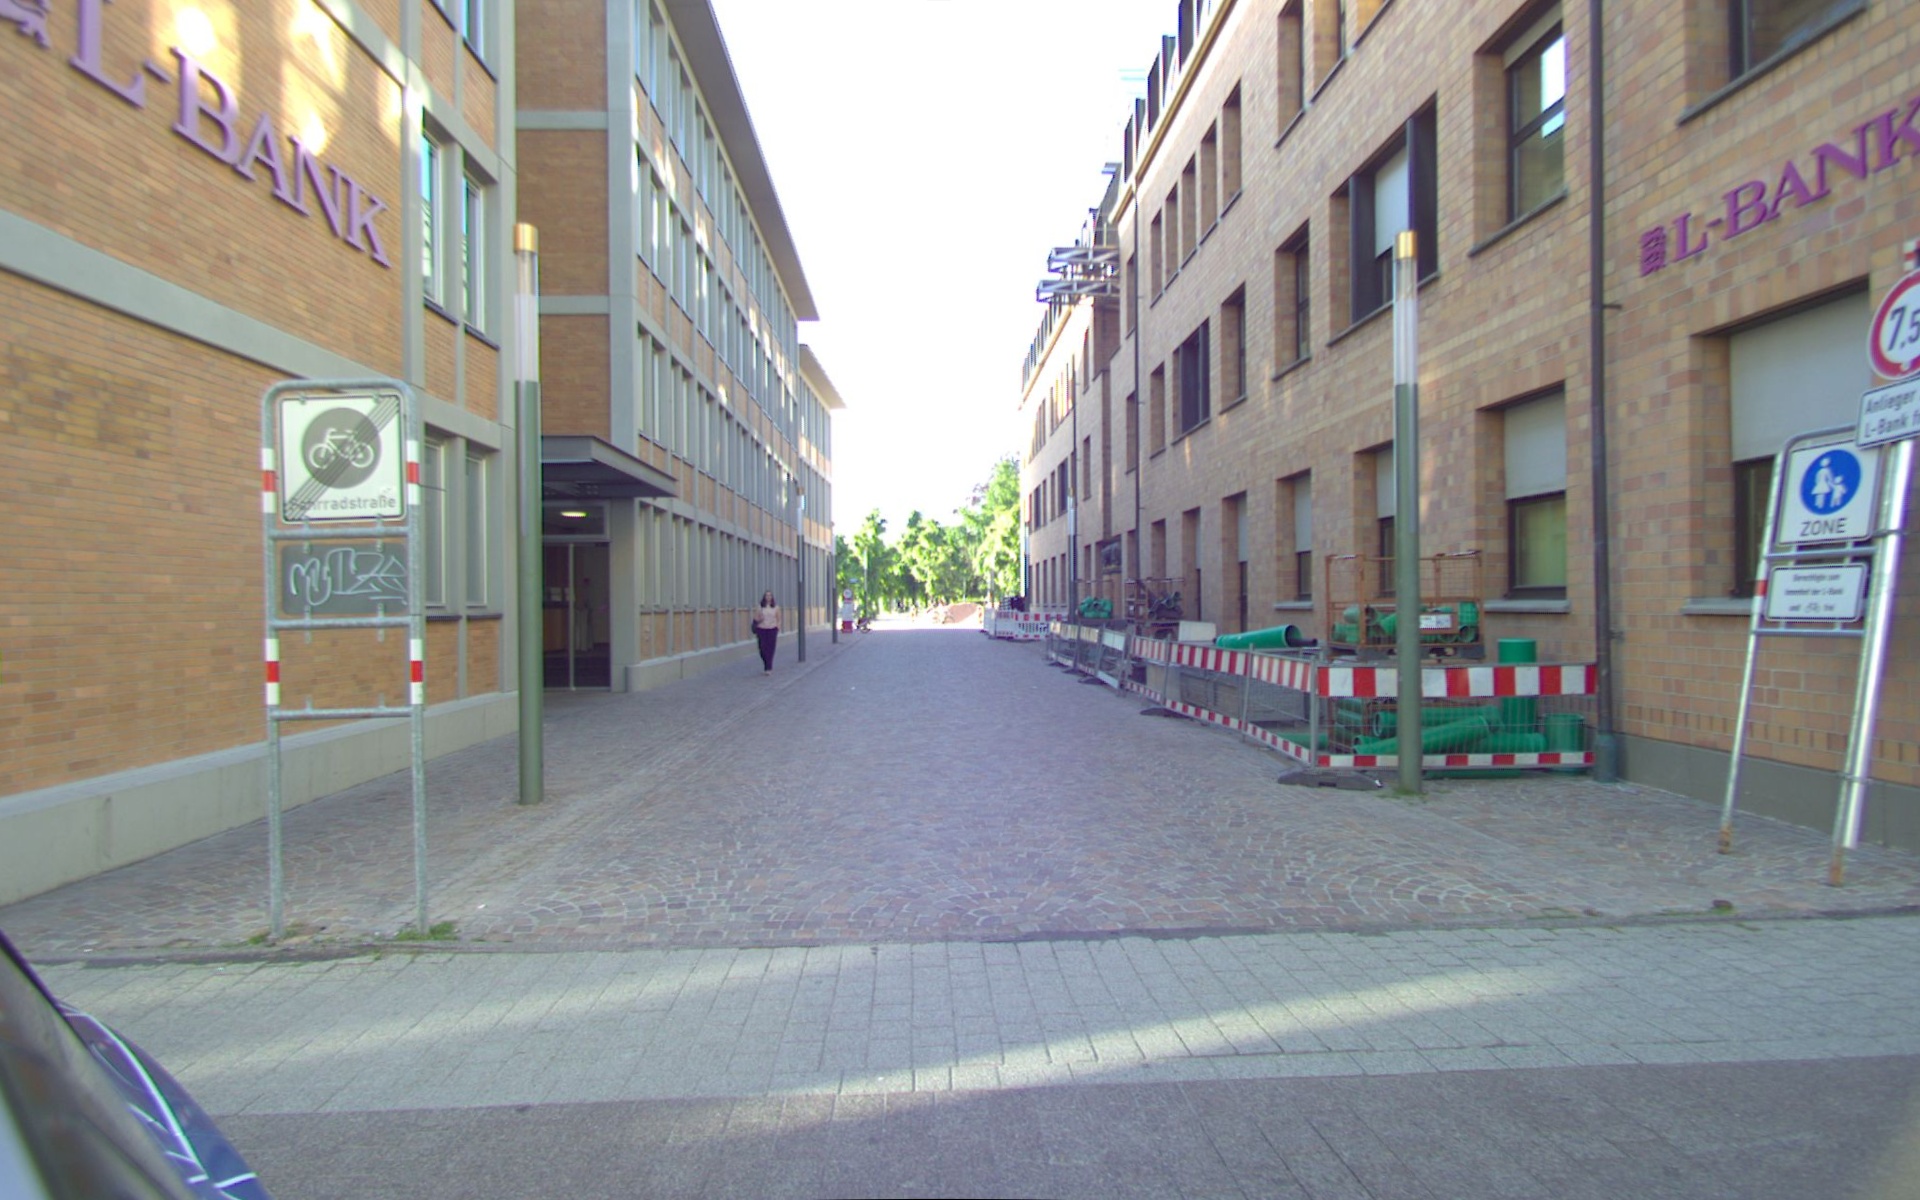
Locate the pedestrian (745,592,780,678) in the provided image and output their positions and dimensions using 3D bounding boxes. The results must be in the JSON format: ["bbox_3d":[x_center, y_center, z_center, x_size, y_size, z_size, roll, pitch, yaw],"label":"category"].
[{"bbox_3d":[-4.207,0.740,21.592,0.629,1.799,0.652,-1,-3,-2],"label":"pedestrian"}]
